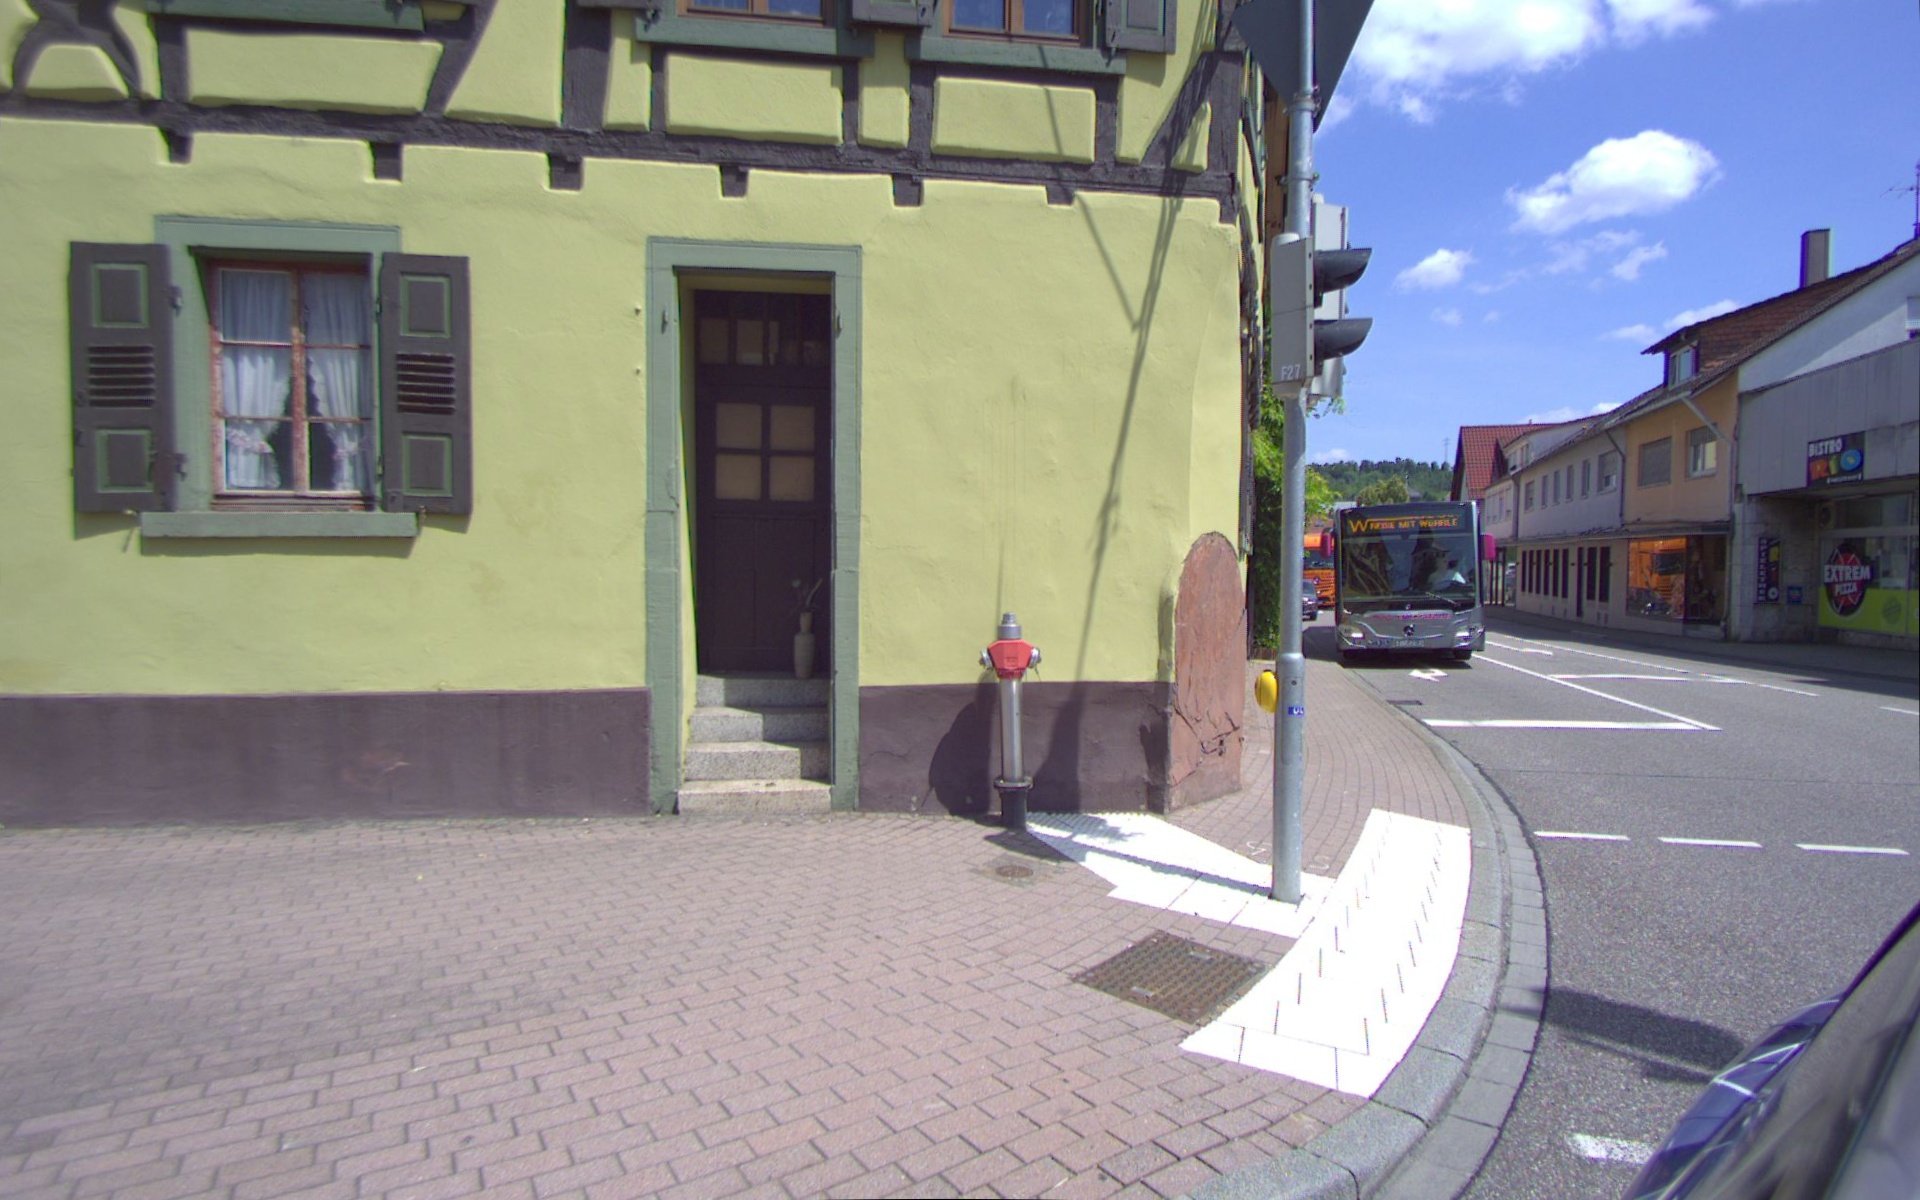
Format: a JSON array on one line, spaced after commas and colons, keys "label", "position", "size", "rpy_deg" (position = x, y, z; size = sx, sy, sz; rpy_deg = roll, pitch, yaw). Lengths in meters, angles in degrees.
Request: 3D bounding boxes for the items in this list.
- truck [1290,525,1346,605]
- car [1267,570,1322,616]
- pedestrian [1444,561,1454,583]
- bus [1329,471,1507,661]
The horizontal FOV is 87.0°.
[{"label": "truck", "position": [19.950, -1.868, 56.485], "size": [2.583, 3.995, 9.929], "rpy_deg": [-2, 0, 19]}, {"label": "car", "position": [13.999, -0.357, 42.225], "size": [1.976, 1.729, 4.075], "rpy_deg": [3, 3, 20]}, {"label": "pedestrian", "position": [39.920, -2.251, 82.629], "size": [0.462, 1.785, 0.479], "rpy_deg": [0, 2, -3]}, {"label": "bus", "position": [11.479, -0.727, 26.572], "size": [2.827, 3.245, 18.895], "rpy_deg": [0, 1, 22]}]
